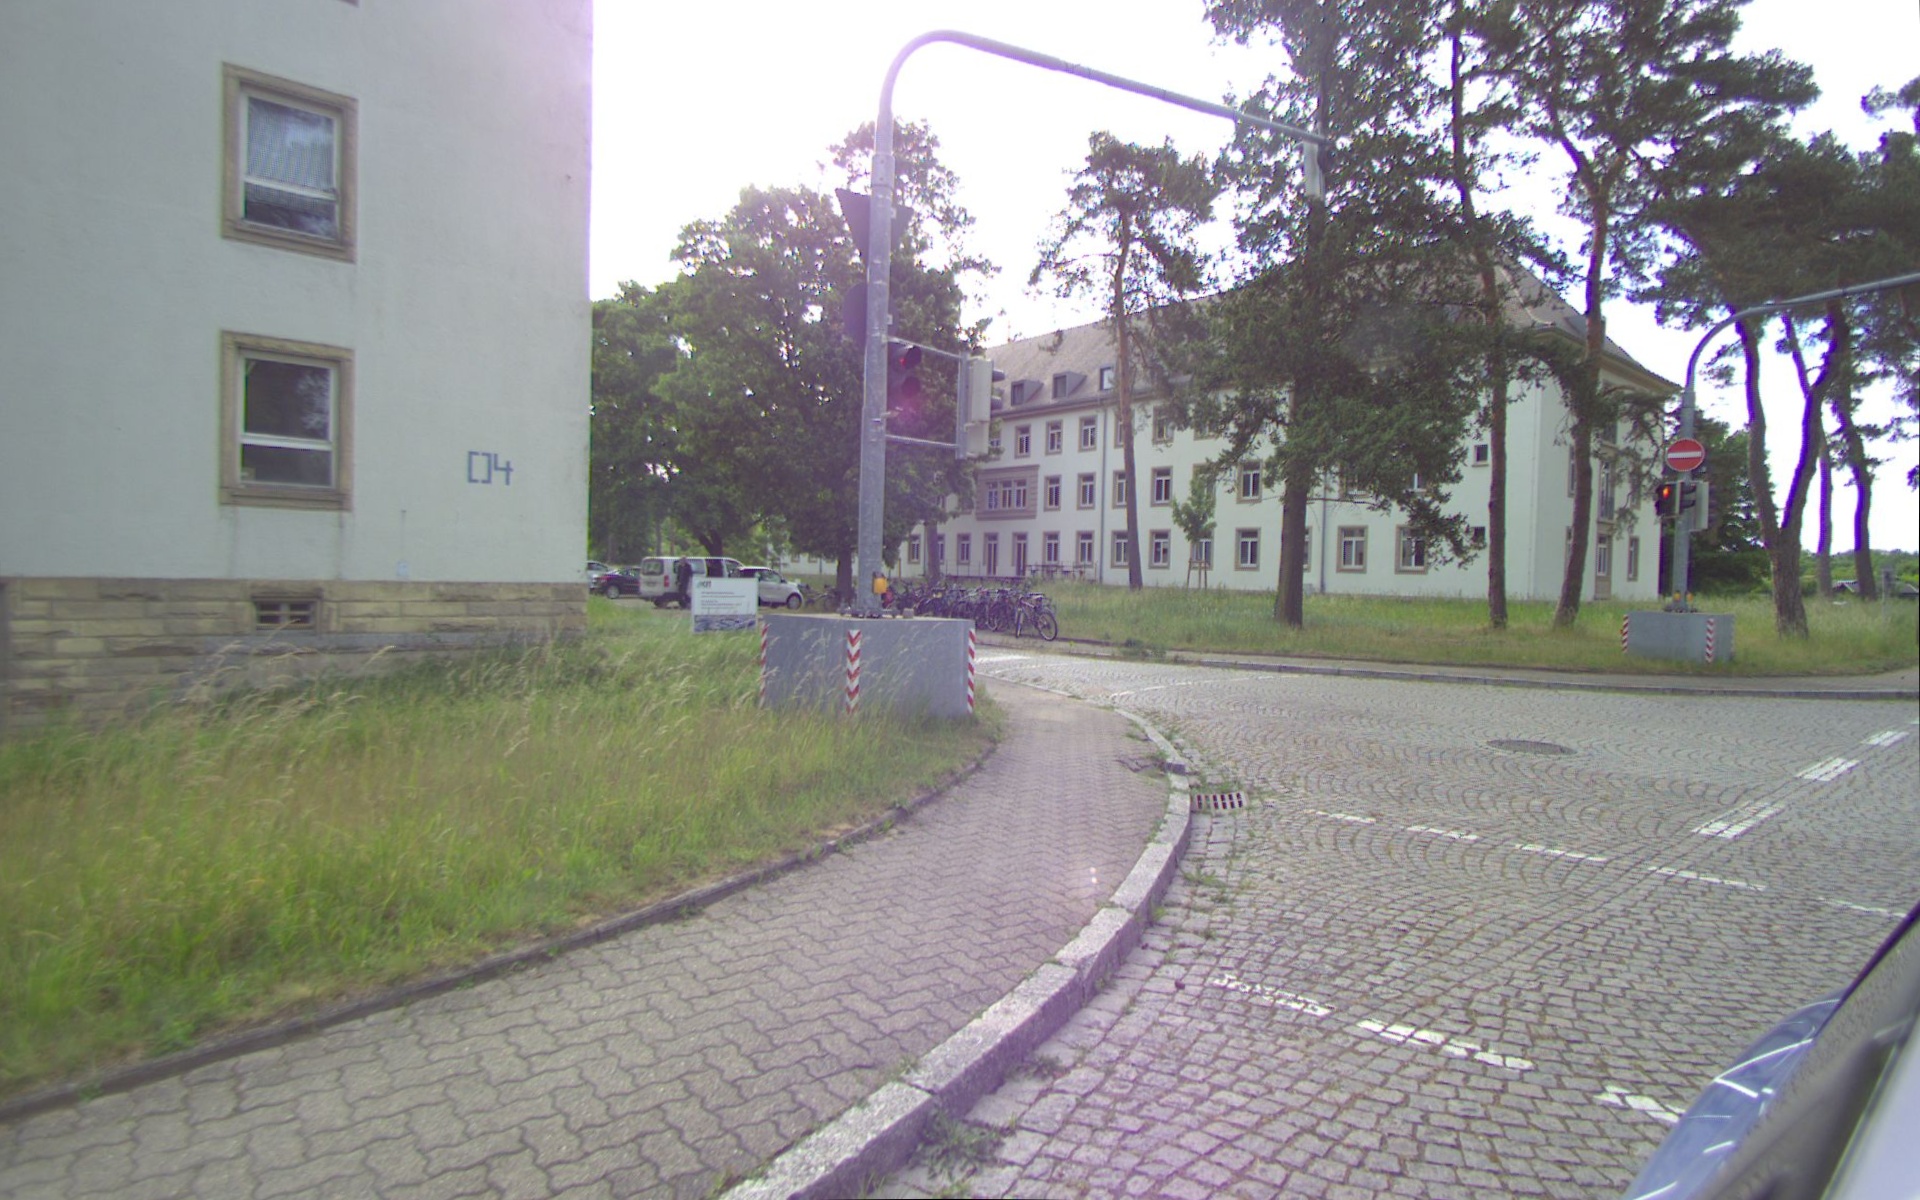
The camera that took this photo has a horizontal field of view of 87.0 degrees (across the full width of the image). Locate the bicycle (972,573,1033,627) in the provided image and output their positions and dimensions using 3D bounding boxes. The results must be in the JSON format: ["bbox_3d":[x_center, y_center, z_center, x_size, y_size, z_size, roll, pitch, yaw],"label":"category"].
[{"bbox_3d":[1.113,-0.008,26.155,0.481,1.348,1.808,2,2,45],"label":"bicycle"}]

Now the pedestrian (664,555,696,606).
[{"bbox_3d":[-9.986,-0.698,36.138,0.863,1.759,0.799,1,1,-36],"label":"pedestrian"}]

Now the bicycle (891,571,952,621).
[{"bbox_3d":[-1.069,-0.116,28.679,0.571,1.348,1.808,2,2,45],"label":"bicycle"}]

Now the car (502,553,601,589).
[{"bbox_3d":[-20.932,-1.476,51.901,4.310,1.738,1.998,0,2,-40],"label":"car"}]

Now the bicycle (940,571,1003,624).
[{"bbox_3d":[0.314,-0.068,27.046,0.571,1.348,1.808,2,2,45],"label":"bicycle"}]

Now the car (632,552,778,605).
[{"bbox_3d":[-9.633,-0.810,38.523,5.027,1.908,1.998,0,2,-40],"label":"car"}]

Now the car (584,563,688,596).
[{"bbox_3d":[-14.625,-0.916,45.816,4.179,1.432,1.691,0,2,-43],"label":"car"}]

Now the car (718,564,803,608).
[{"bbox_3d":[-7.213,-0.521,36.634,2.645,1.527,1.475,0,2,-40],"label":"car"}]

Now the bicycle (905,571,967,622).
[{"bbox_3d":[-0.649,-0.107,28.089,0.571,1.348,1.808,2,2,45],"label":"bicycle"}]

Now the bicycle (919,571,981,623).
[{"bbox_3d":[-0.268,-0.085,27.671,0.571,1.348,1.808,2,2,45],"label":"bicycle"}]

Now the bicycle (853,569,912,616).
[{"bbox_3d":[-2.299,-0.235,30.145,0.571,1.348,1.808,2,2,45],"label":"bicycle"}]

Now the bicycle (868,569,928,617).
[{"bbox_3d":[-1.795,-0.203,29.642,0.571,1.348,1.808,2,2,45],"label":"bicycle"}]

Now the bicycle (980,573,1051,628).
[{"bbox_3d":[1.420,0.018,25.764,1.802,1.348,0.573,0,1,-32],"label":"bicycle"}]

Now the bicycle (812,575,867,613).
[{"bbox_3d":[-3.917,-0.187,32.888,0.571,1.201,1.809,2,2,43],"label":"bicycle"}]

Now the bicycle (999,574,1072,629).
[{"bbox_3d":[1.904,0.038,25.354,1.802,1.348,0.573,0,1,-32],"label":"bicycle"}]

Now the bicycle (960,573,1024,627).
[{"bbox_3d":[0.847,-0.013,26.497,0.571,1.348,1.808,2,2,45],"label":"bicycle"}]

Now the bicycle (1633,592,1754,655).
[{"bbox_3d":[14.297,0.433,19.769,0.563,1.098,1.835,-2,3,-41],"label":"bicycle"}]

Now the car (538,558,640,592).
[{"bbox_3d":[-18.294,-1.223,49.981,4.391,1.611,1.775,0,2,-43],"label":"car"}]

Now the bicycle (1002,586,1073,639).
[{"bbox_3d":[1.734,0.262,22.980,0.562,1.098,1.838,-2,3,-36],"label":"bicycle"}]

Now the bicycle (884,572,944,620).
[{"bbox_3d":[-1.307,-0.124,29.279,0.571,1.348,1.808,2,2,45],"label":"bicycle"}]

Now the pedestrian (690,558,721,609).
[{"bbox_3d":[-8.899,-0.585,35.449,0.867,1.759,0.822,1,1,0],"label":"pedestrian"}]
